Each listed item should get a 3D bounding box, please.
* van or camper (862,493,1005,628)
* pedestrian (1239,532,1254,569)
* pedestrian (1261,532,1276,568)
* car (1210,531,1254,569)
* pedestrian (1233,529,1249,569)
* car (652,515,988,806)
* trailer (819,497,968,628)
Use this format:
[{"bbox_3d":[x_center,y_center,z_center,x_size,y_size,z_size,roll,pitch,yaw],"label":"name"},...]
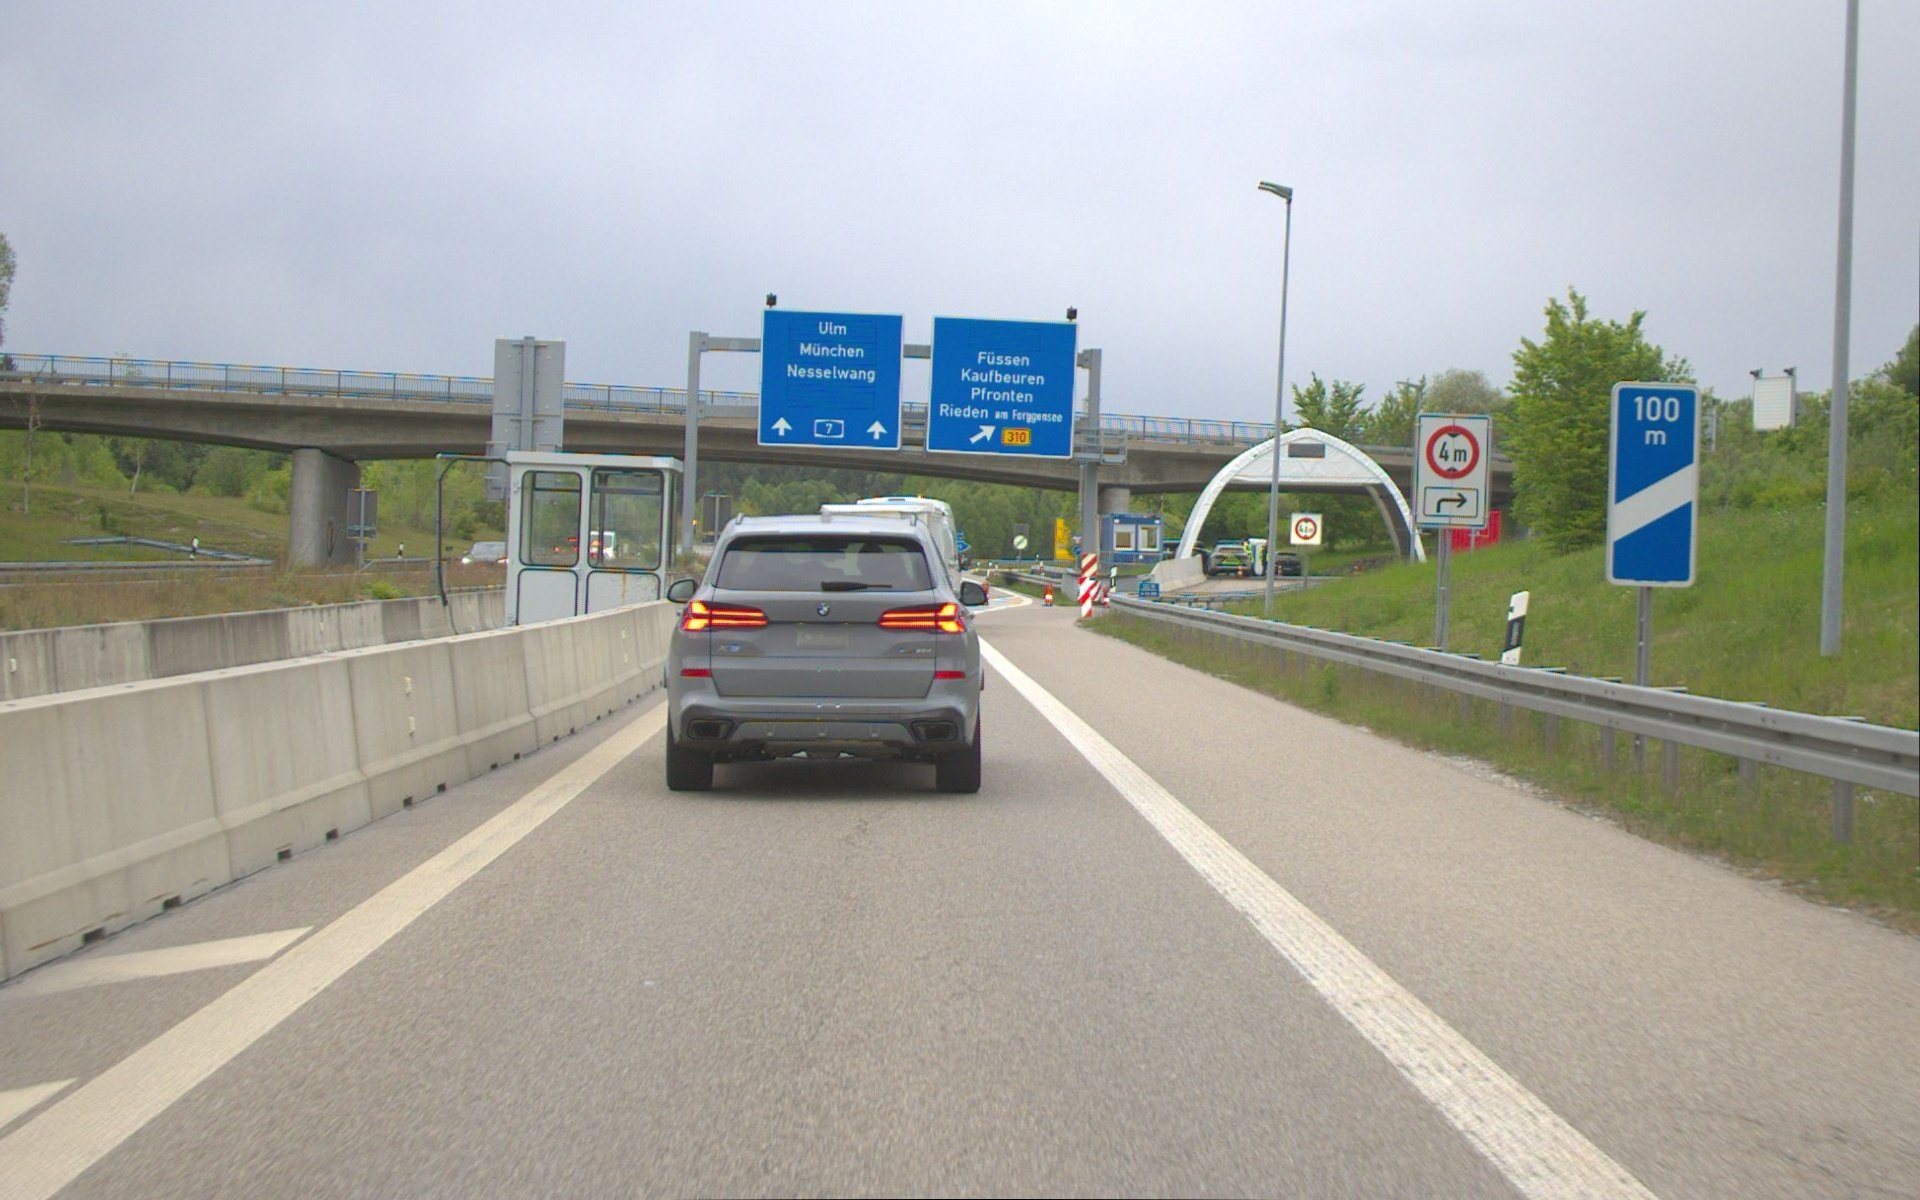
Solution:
[{"bbox_3d":[-0.511,-0.836,73.904,2.157,2.754,5.869,1,0,9],"label":"van or camper"},{"bbox_3d":[13.756,-2.394,164.983,0.720,1.769,0.690,0,1,4],"label":"pedestrian"},{"bbox_3d":[14.885,-2.410,165.956,0.648,1.769,0.606,0,1,2],"label":"pedestrian"},{"bbox_3d":[12.852,-2.354,162.659,1.994,1.766,3.765,0,1,3],"label":"car"},{"bbox_3d":[13.592,-2.478,166.174,0.720,1.939,0.690,0,1,4],"label":"pedestrian"},{"bbox_3d":[-0.869,0.331,22.564,1.993,1.713,4.000,1,1,-1],"label":"car"},{"bbox_3d":[-1.234,-0.731,67.559,2.279,2.422,6.816,1,0,4],"label":"trailer"}]
